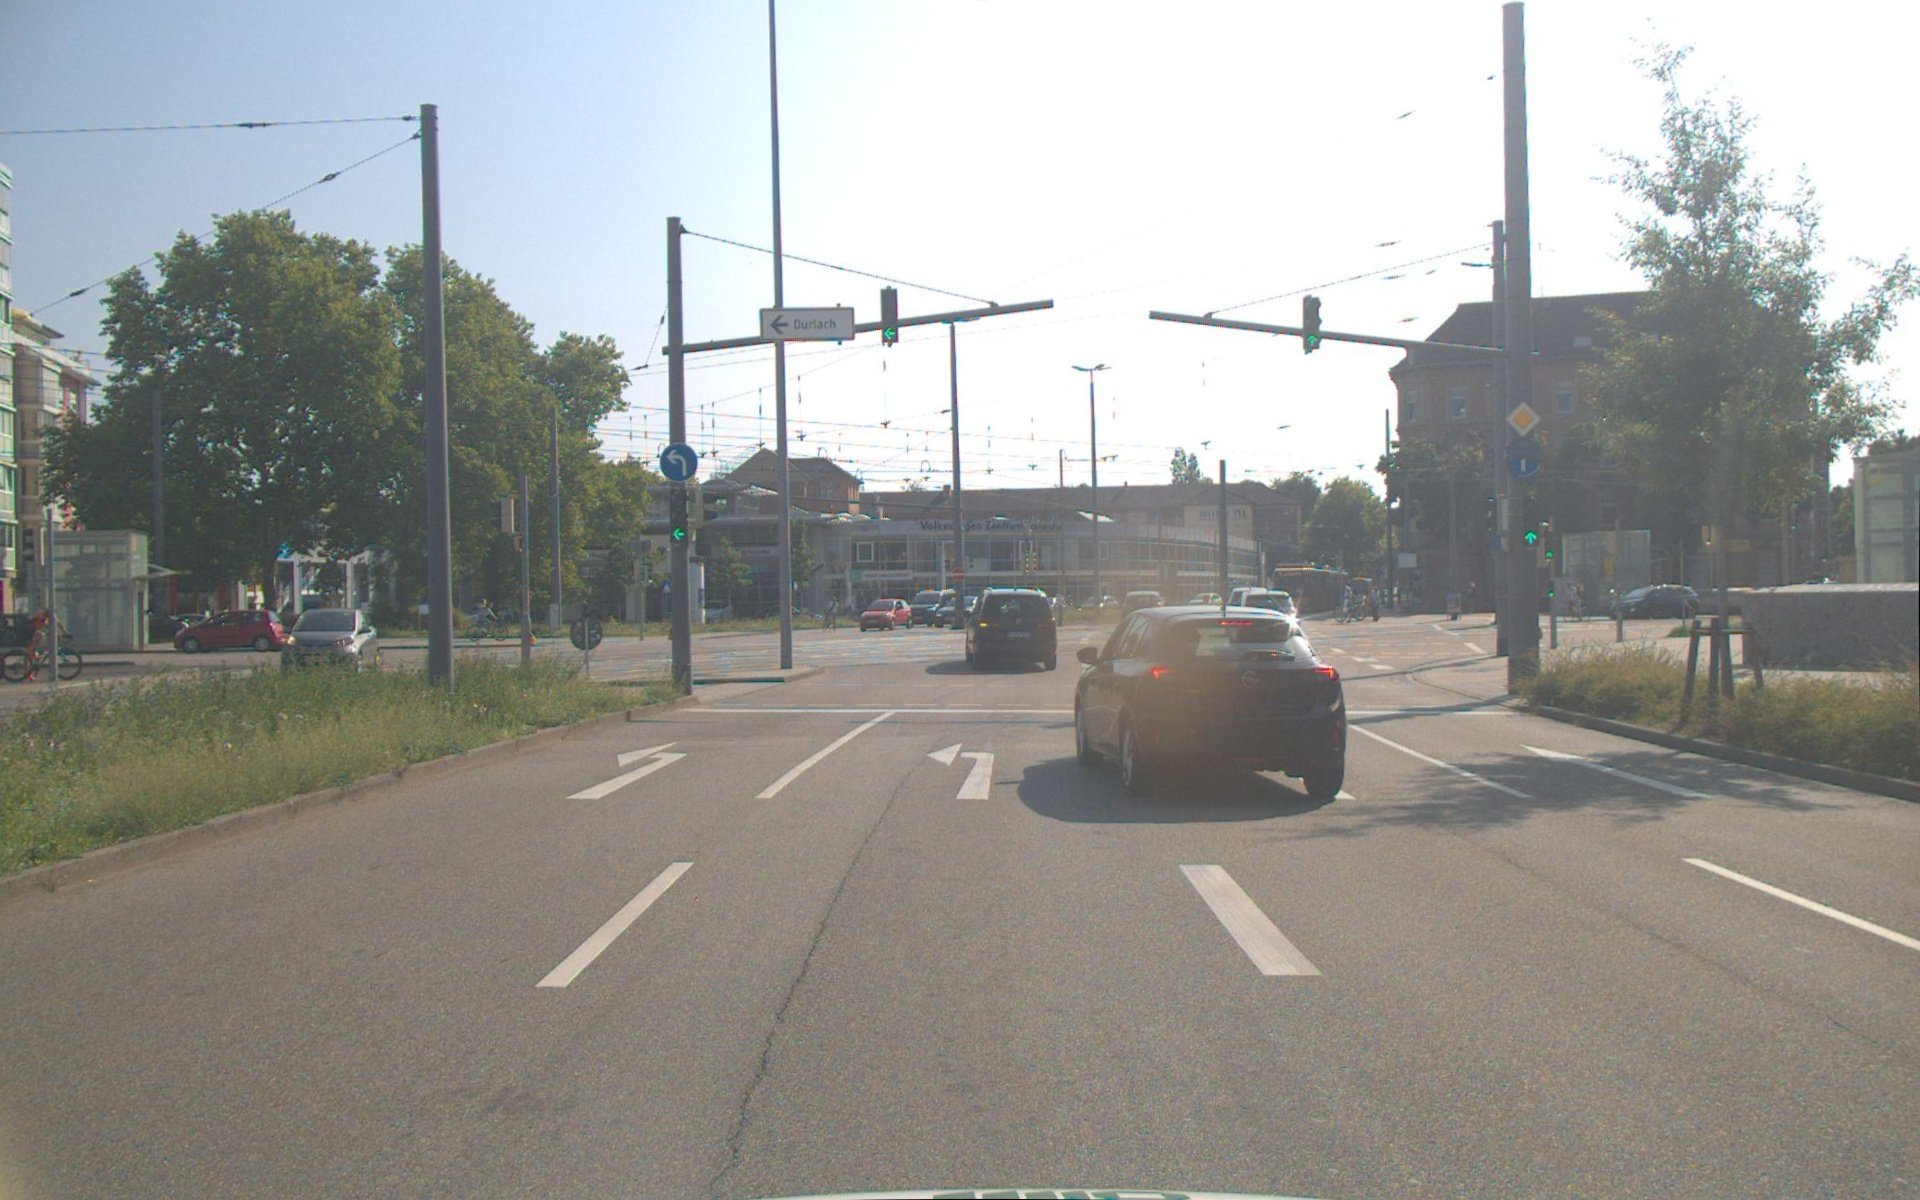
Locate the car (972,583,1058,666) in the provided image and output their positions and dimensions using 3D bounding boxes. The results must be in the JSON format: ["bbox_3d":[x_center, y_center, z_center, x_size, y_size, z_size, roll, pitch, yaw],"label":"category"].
[{"bbox_3d":[1.175,0.517,37.237,1.788,1.744,4.412,0,0,0],"label":"car"}]

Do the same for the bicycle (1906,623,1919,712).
[{"bbox_3d":[10.959,0.743,17.617,0.704,0.976,1.922,-1,0,2],"label":"bicycle"}]

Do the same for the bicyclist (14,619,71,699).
[{"bbox_3d":[-20.002,1.278,36.084,0.865,1.681,0.724,-1,0,-9],"label":"bicyclist"}]

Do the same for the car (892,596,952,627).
[{"bbox_3d":[-1.980,0.589,87.206,1.919,1.501,4.002,-3,-1,17],"label":"car"}]

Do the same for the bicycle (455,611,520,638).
[{"bbox_3d":[-20.009,1.048,70.123,2.555,1.075,0.957,-1,0,-13],"label":"bicycle"}]

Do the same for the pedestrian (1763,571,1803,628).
[{"bbox_3d":[25.006,-0.008,50.255,0.905,1.719,0.833,-1,0,39],"label":"pedestrian"}]

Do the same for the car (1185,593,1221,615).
[{"bbox_3d":[18.373,0.302,124.821,1.582,1.501,3.998,-3,-1,24],"label":"car"}]

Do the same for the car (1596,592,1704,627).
[{"bbox_3d":[29.860,0.411,71.590,4.320,1.421,2.007,-1,0,-26],"label":"car"}]

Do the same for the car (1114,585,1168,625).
[{"bbox_3d":[7.373,0.182,67.078,1.786,1.562,4.416,-1,0,11],"label":"car"}]

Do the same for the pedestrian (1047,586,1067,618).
[{"bbox_3d":[4.675,0.111,79.785,0.761,1.529,0.711,-1,0,16],"label":"pedestrian"}]

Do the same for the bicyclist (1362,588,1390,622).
[{"bbox_3d":[21.136,0.252,84.044,0.921,1.709,1.086,-1,0,-22],"label":"bicyclist"}]

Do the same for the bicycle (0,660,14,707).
[{"bbox_3d":[-20.853,1.768,34.506,1.779,0.948,0.724,-1,0,-10],"label":"bicycle"}]

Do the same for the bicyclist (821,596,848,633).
[{"bbox_3d":[-6.138,0.719,80.832,0.937,1.779,1.167,-1,0,18],"label":"bicyclist"}]

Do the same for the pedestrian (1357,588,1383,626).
[{"bbox_3d":[20.213,0.333,81.537,0.919,1.828,0.848,-1,0,-39],"label":"pedestrian"}]

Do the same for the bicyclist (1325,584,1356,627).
[{"bbox_3d":[18.487,0.272,80.348,0.926,2.059,1.079,-1,0,-35],"label":"bicyclist"}]

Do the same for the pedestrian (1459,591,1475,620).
[{"bbox_3d":[27.028,0.298,88.193,0.662,1.496,0.538,-1,0,-42],"label":"pedestrian"}]

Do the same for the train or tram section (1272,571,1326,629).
[{"bbox_3d":[23.517,-0.049,114.321,2.599,3.763,10.595,-1,0,17],"label":"train or tram section"}]

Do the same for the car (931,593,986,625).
[{"bbox_3d":[-0.038,0.425,82.291,1.580,1.501,4.002,-3,-1,17],"label":"car"}]

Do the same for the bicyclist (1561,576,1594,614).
[{"bbox_3d":[28.843,-0.216,77.249,0.926,1.738,1.079,-1,0,-35],"label":"bicyclist"}]

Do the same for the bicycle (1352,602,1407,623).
[{"bbox_3d":[21.317,0.623,84.123,2.582,0.981,1.086,-1,0,-22],"label":"bicycle"}]

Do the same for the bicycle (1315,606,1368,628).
[{"bbox_3d":[18.533,0.825,80.370,2.597,0.981,1.079,-1,0,-36],"label":"bicycle"}]

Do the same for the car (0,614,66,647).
[{"bbox_3d":[-41.331,1.325,71.929,4.090,1.378,1.474,-1,0,-17],"label":"car"}]

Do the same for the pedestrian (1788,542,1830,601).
[{"bbox_3d":[25.149,-0.834,48.997,0.906,1.719,0.919,-1,0,42],"label":"pedestrian"}]

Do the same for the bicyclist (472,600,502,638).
[{"bbox_3d":[-20.056,0.798,70.119,1.142,1.554,0.958,-1,0,-13],"label":"bicyclist"}]

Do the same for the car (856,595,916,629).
[{"bbox_3d":[-3.560,0.567,80.113,1.580,1.501,4.002,-3,-1,17],"label":"car"}]

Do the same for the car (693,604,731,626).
[{"bbox_3d":[-17.924,1.069,119.712,1.663,1.549,4.102,-1,0,6],"label":"car"}]

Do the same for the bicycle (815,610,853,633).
[{"bbox_3d":[-6.137,1.049,80.827,0.937,1.075,2.609,-1,0,18],"label":"bicycle"}]

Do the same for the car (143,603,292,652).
[{"bbox_3d":[-25.535,0.928,56.991,4.320,1.562,1.826,-1,0,-12],"label":"car"}]

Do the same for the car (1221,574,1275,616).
[{"bbox_3d":[10.775,-0.204,61.667,1.786,1.453,4.416,-1,0,12],"label":"car"}]

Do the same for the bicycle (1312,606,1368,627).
[{"bbox_3d":[18.999,0.817,82.631,2.582,0.981,1.086,-1,0,-22],"label":"bicycle"}]

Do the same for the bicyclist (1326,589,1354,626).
[{"bbox_3d":[18.979,0.388,82.623,0.921,1.831,1.086,-1,0,-22],"label":"bicyclist"}]

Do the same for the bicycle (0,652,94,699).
[{"bbox_3d":[-19.982,1.636,36.090,1.779,0.948,0.724,-1,0,-10],"label":"bicycle"}]

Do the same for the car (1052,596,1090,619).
[{"bbox_3d":[7.557,0.488,112.568,1.580,1.501,4.002,-3,-1,18],"label":"car"}]

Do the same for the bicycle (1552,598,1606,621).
[{"bbox_3d":[28.924,0.449,77.289,2.597,0.981,1.079,-1,-1,-36],"label":"bicycle"}]

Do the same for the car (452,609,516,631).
[{"bbox_3d":[-34.933,1.437,121.507,1.669,1.549,4.502,-1,0,33],"label":"car"}]

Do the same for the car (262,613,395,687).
[{"bbox_3d":[-13.831,1.058,36.442,1.852,1.477,3.670,-1,0,-7],"label":"car"}]

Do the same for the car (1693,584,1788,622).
[{"bbox_3d":[40.082,0.156,84.999,4.189,1.891,1.924,-1,0,-16],"label":"car"}]

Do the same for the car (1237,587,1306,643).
[{"bbox_3d":[8.752,0.398,46.514,1.786,1.453,4.416,-1,0,10],"label":"car"}]

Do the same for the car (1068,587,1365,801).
[{"bbox_3d":[2.007,0.677,14.168,1.649,1.518,4.370,-1,0,-3],"label":"car"}]
